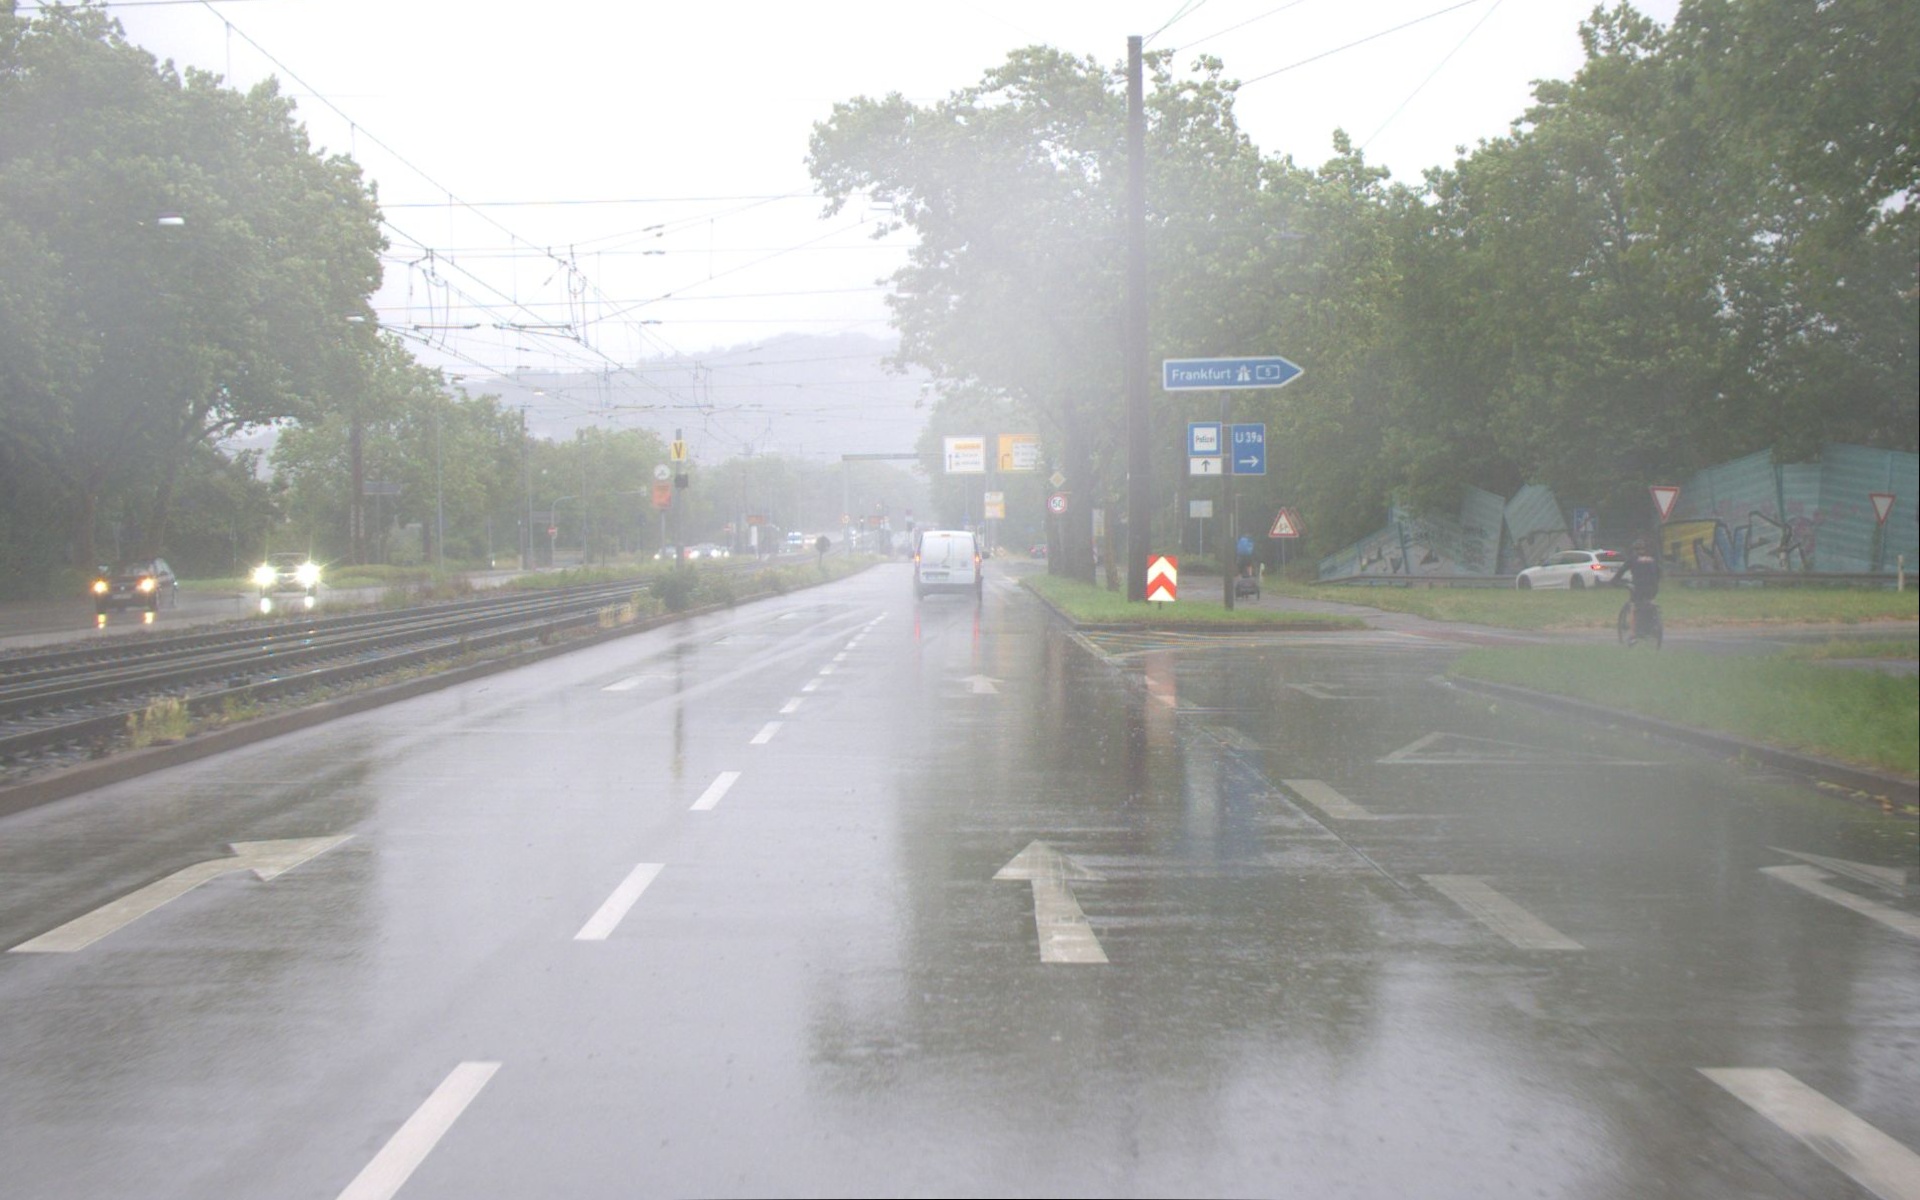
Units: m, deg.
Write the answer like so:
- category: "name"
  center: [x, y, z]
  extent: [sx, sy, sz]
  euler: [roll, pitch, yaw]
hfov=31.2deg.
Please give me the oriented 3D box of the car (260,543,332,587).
- category: "car"
  center: [-23.037, -1.232, 119.430]
  extent: [1.690, 1.518, 4.956]
  euler: [0, 1, -2]

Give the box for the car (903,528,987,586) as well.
- category: "car"
  center: [-0.393, -1.095, 87.979]
  extent: [2.077, 1.415, 4.000]
  euler: [-1, 1, 0]

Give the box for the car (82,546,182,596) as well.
- category: "car"
  center: [-22.459, -0.804, 93.345]
  extent: [1.771, 1.326, 4.381]
  euler: [0, 1, -2]

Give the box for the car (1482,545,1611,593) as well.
- category: "car"
  center: [19.140, -1.026, 112.394]
  extent: [1.948, 1.531, 4.467]
  euler: [0, 1, -25]
